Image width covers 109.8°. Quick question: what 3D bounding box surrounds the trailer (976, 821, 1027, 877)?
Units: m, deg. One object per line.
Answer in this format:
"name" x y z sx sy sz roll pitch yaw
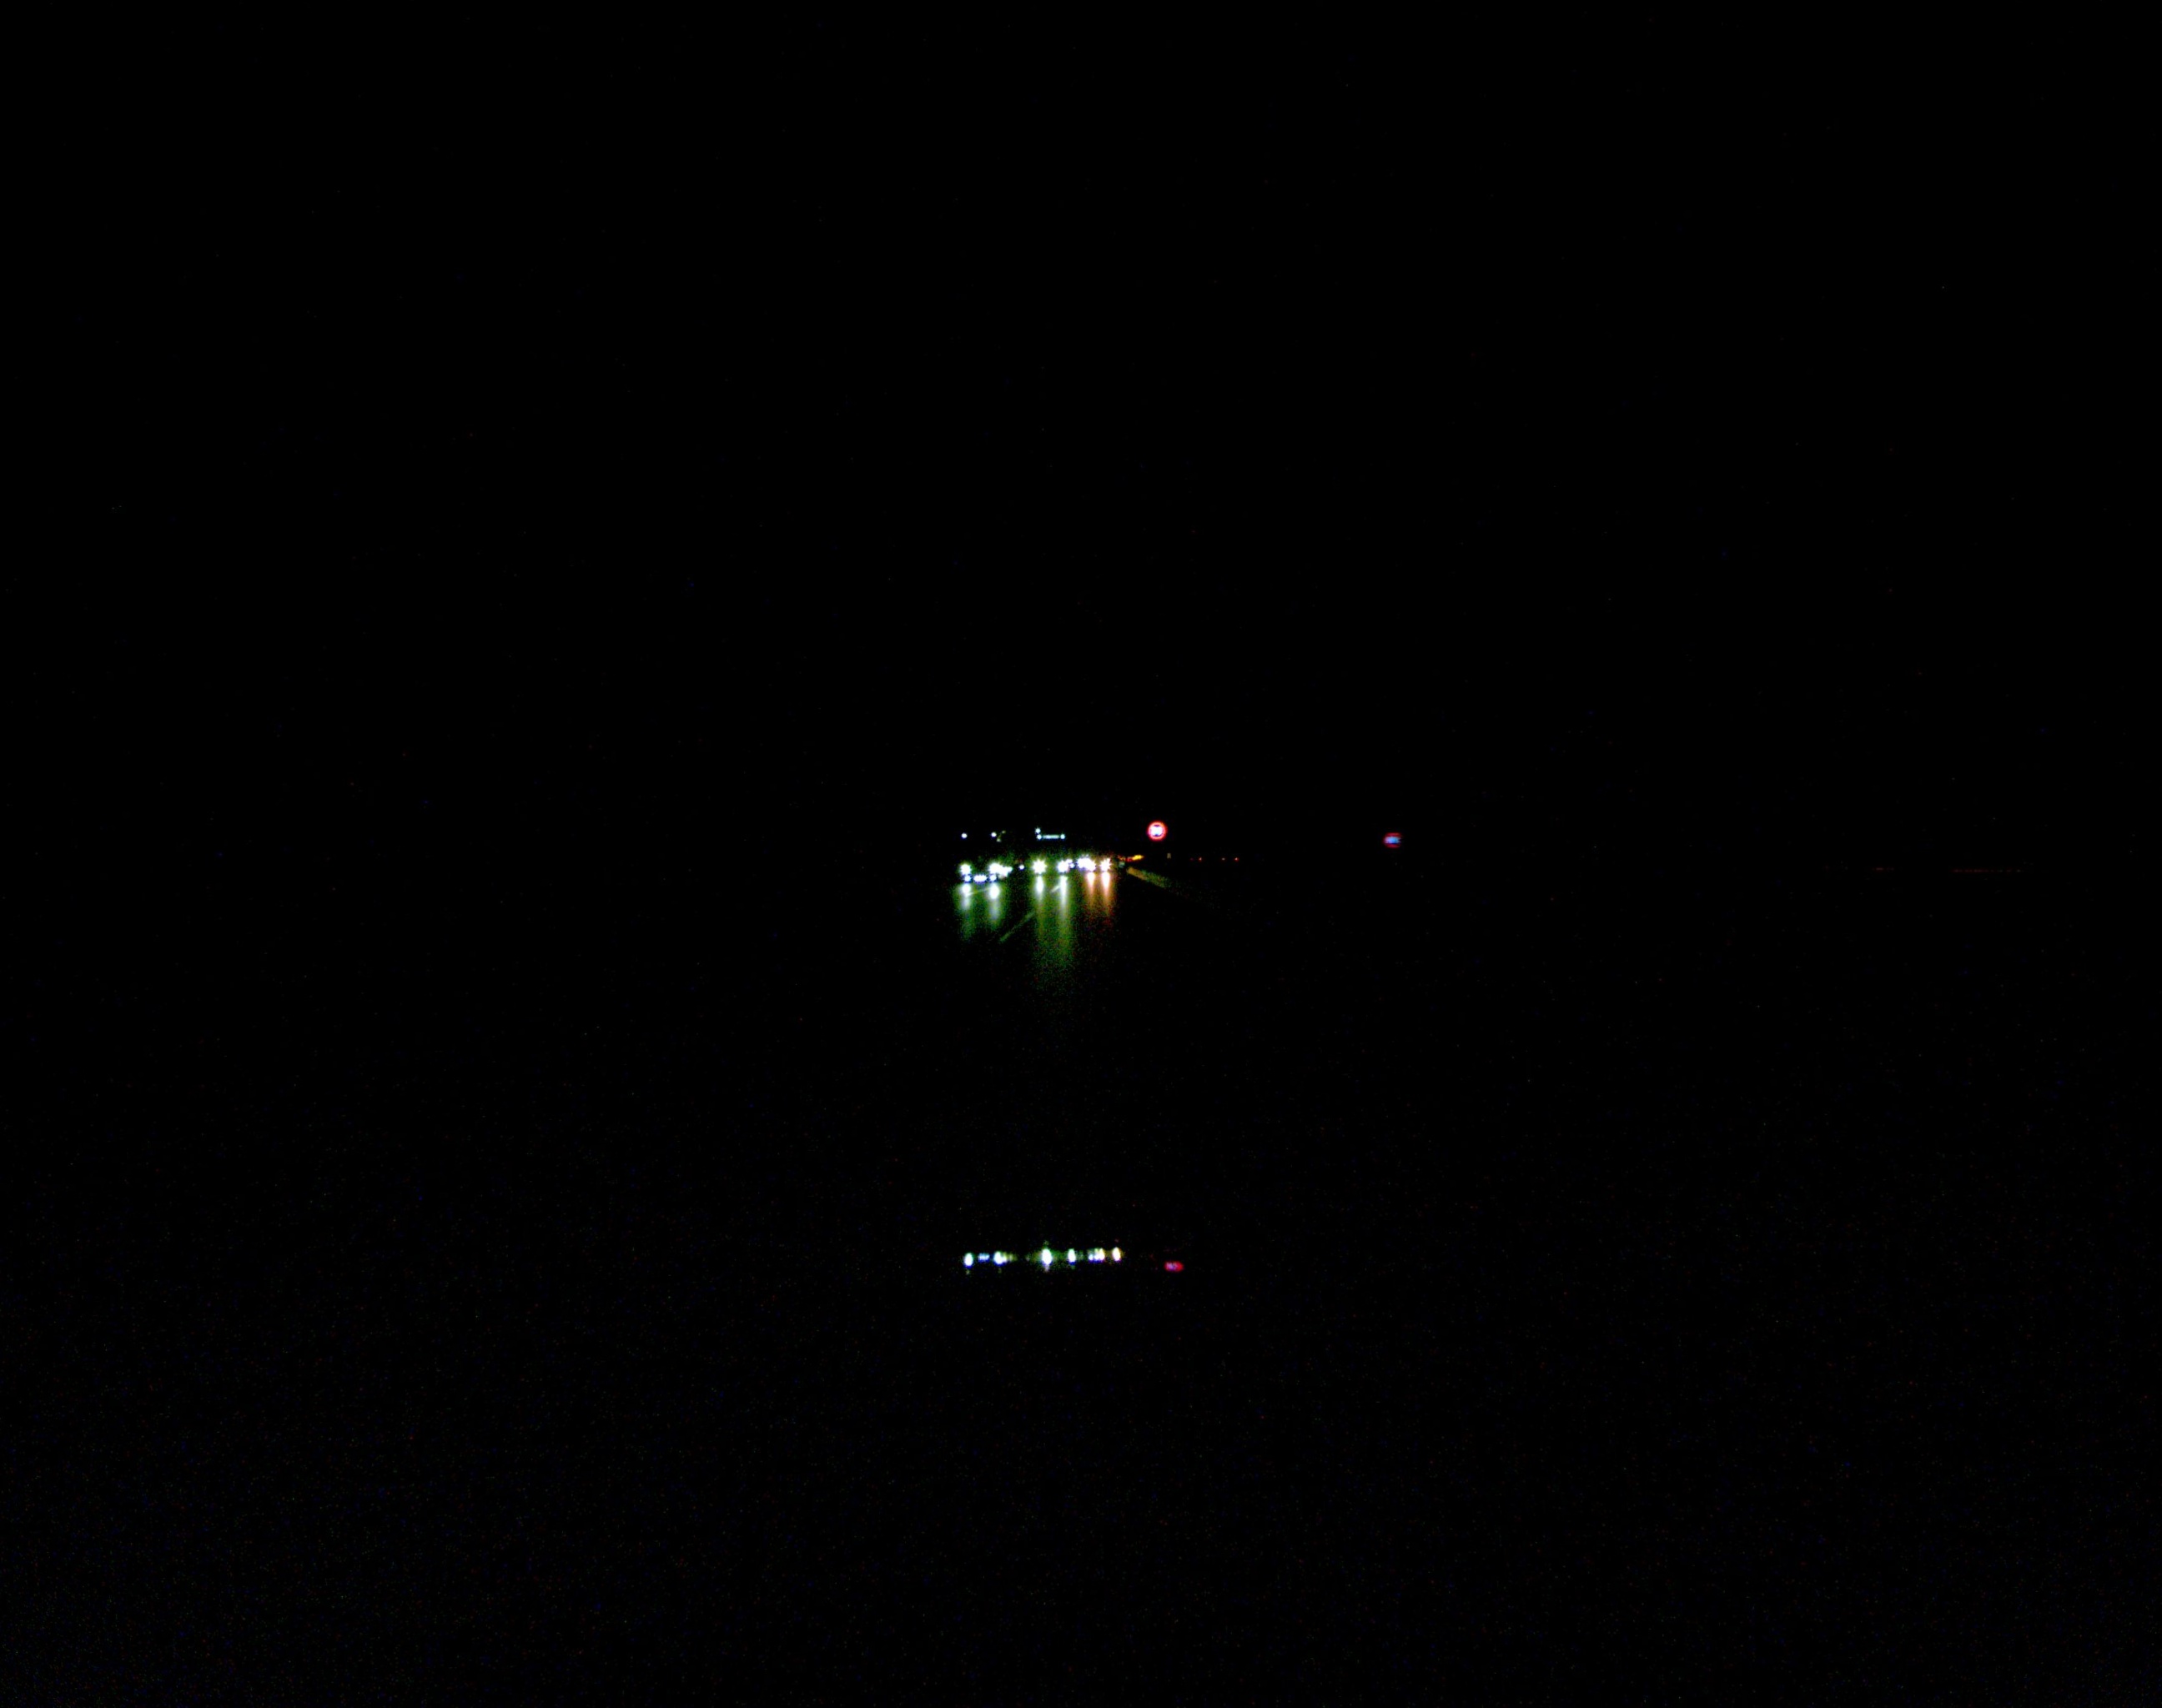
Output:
"trailer" -6.243 -0.369 61.325 2.597 4.048 10.009 -2 0 2

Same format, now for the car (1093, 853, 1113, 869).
"car" 2.143 0.708 73.879 1.825 1.457 4.248 -2 0 1

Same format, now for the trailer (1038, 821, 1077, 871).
"trailer" -2.037 -0.656 71.777 2.749 4.181 13.512 -2 0 2

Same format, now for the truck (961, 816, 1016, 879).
"truck" -6.427 -0.392 53.858 2.597 4.048 7.674 -2 0 2

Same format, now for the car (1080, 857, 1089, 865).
"car" 1.006 1.782 199.305 2.266 1.841 5.404 -2 0 1

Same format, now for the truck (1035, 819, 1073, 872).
"truck" -2.192 -0.657 64.879 2.668 4.181 6.723 -2 0 2
